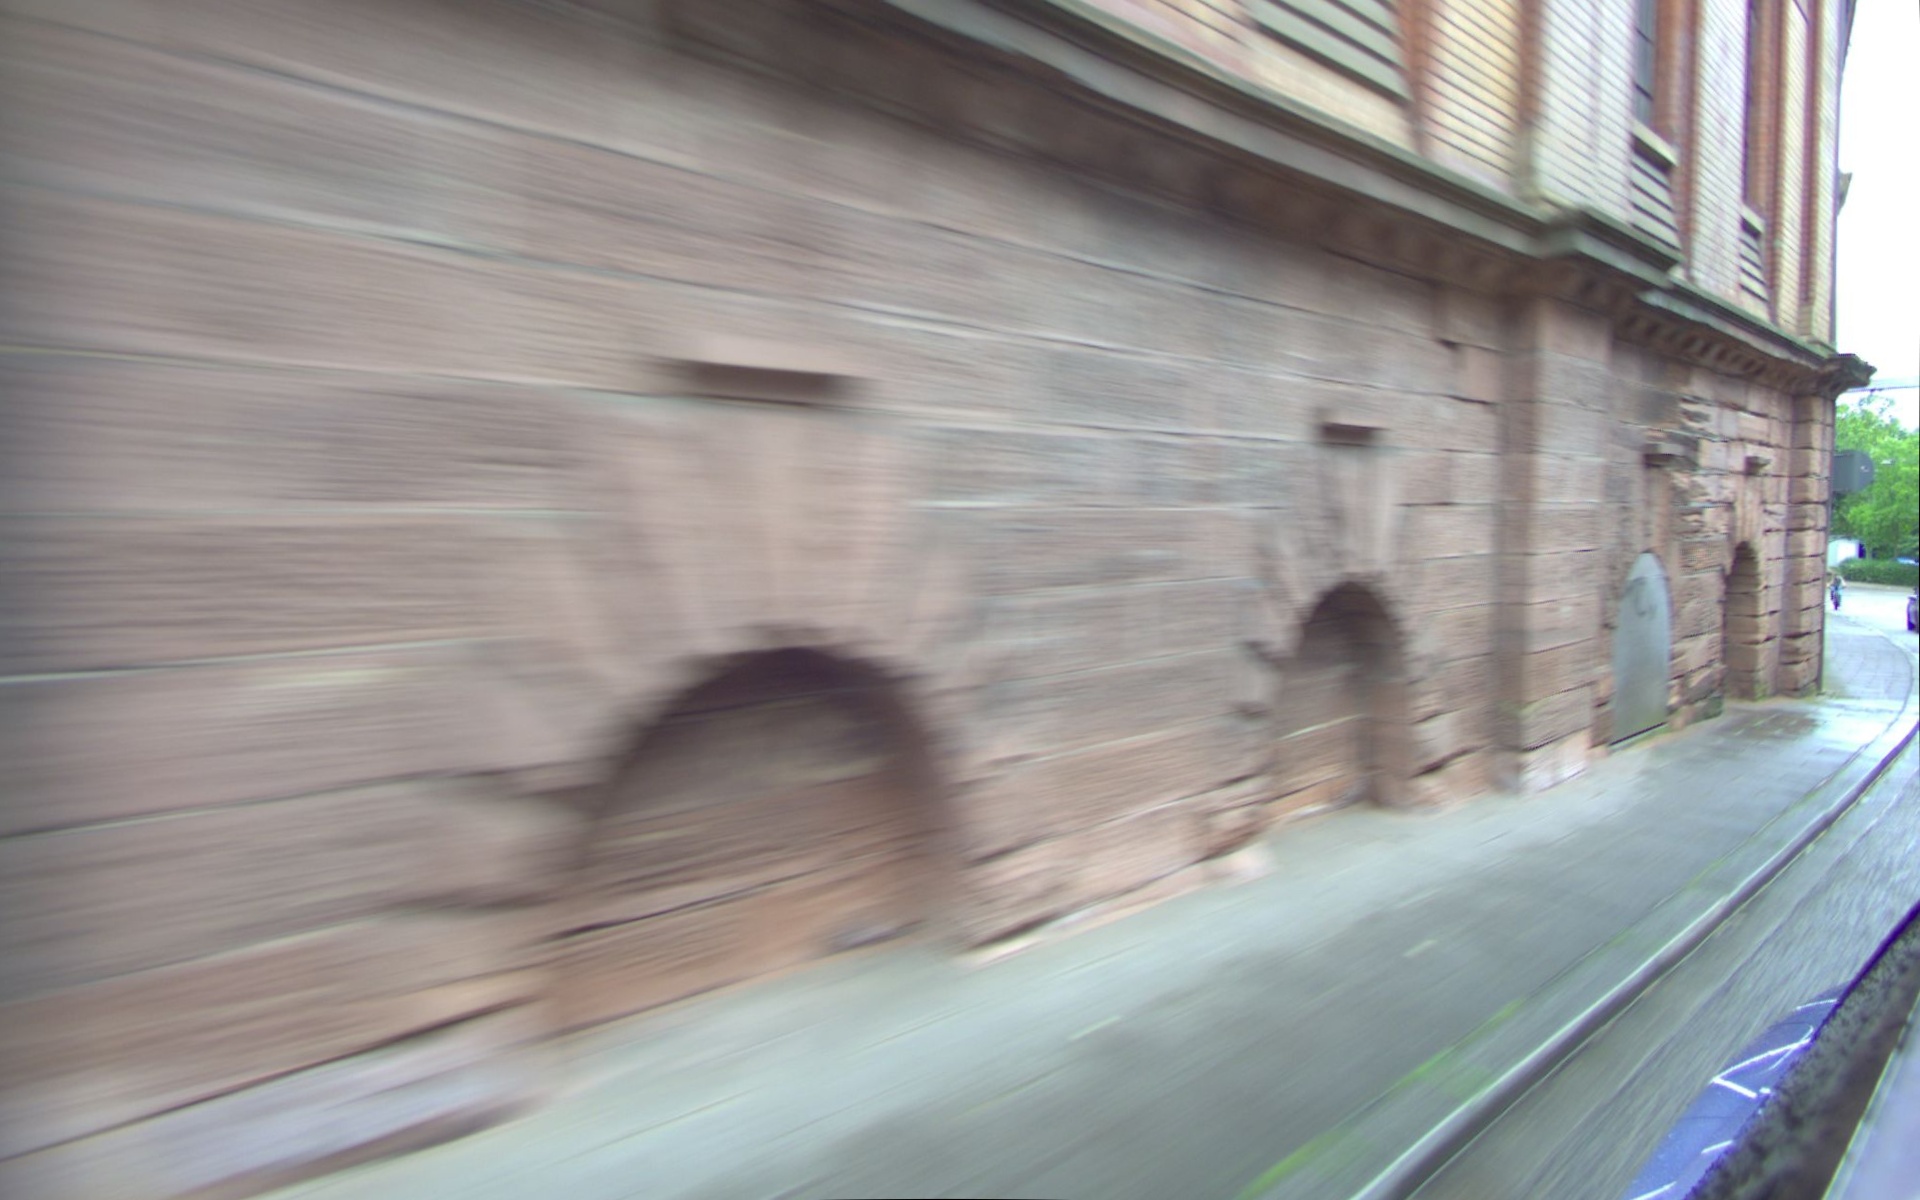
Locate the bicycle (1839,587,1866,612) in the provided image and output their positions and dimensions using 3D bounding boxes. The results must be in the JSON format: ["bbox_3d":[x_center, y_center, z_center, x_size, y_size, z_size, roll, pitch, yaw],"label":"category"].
[{"bbox_3d":[46.666,-0.021,52.945,0.883,1.202,2.106,1,3,37],"label":"bicycle"}]

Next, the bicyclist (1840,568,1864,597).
[{"bbox_3d":[46.761,-0.917,53.058,0.883,1.508,0.956,1,2,37],"label":"bicyclist"}]

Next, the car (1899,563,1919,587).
[{"bbox_3d":[62.591,-1.562,64.297,3.937,1.529,1.795,1,1,11],"label":"car"}]
